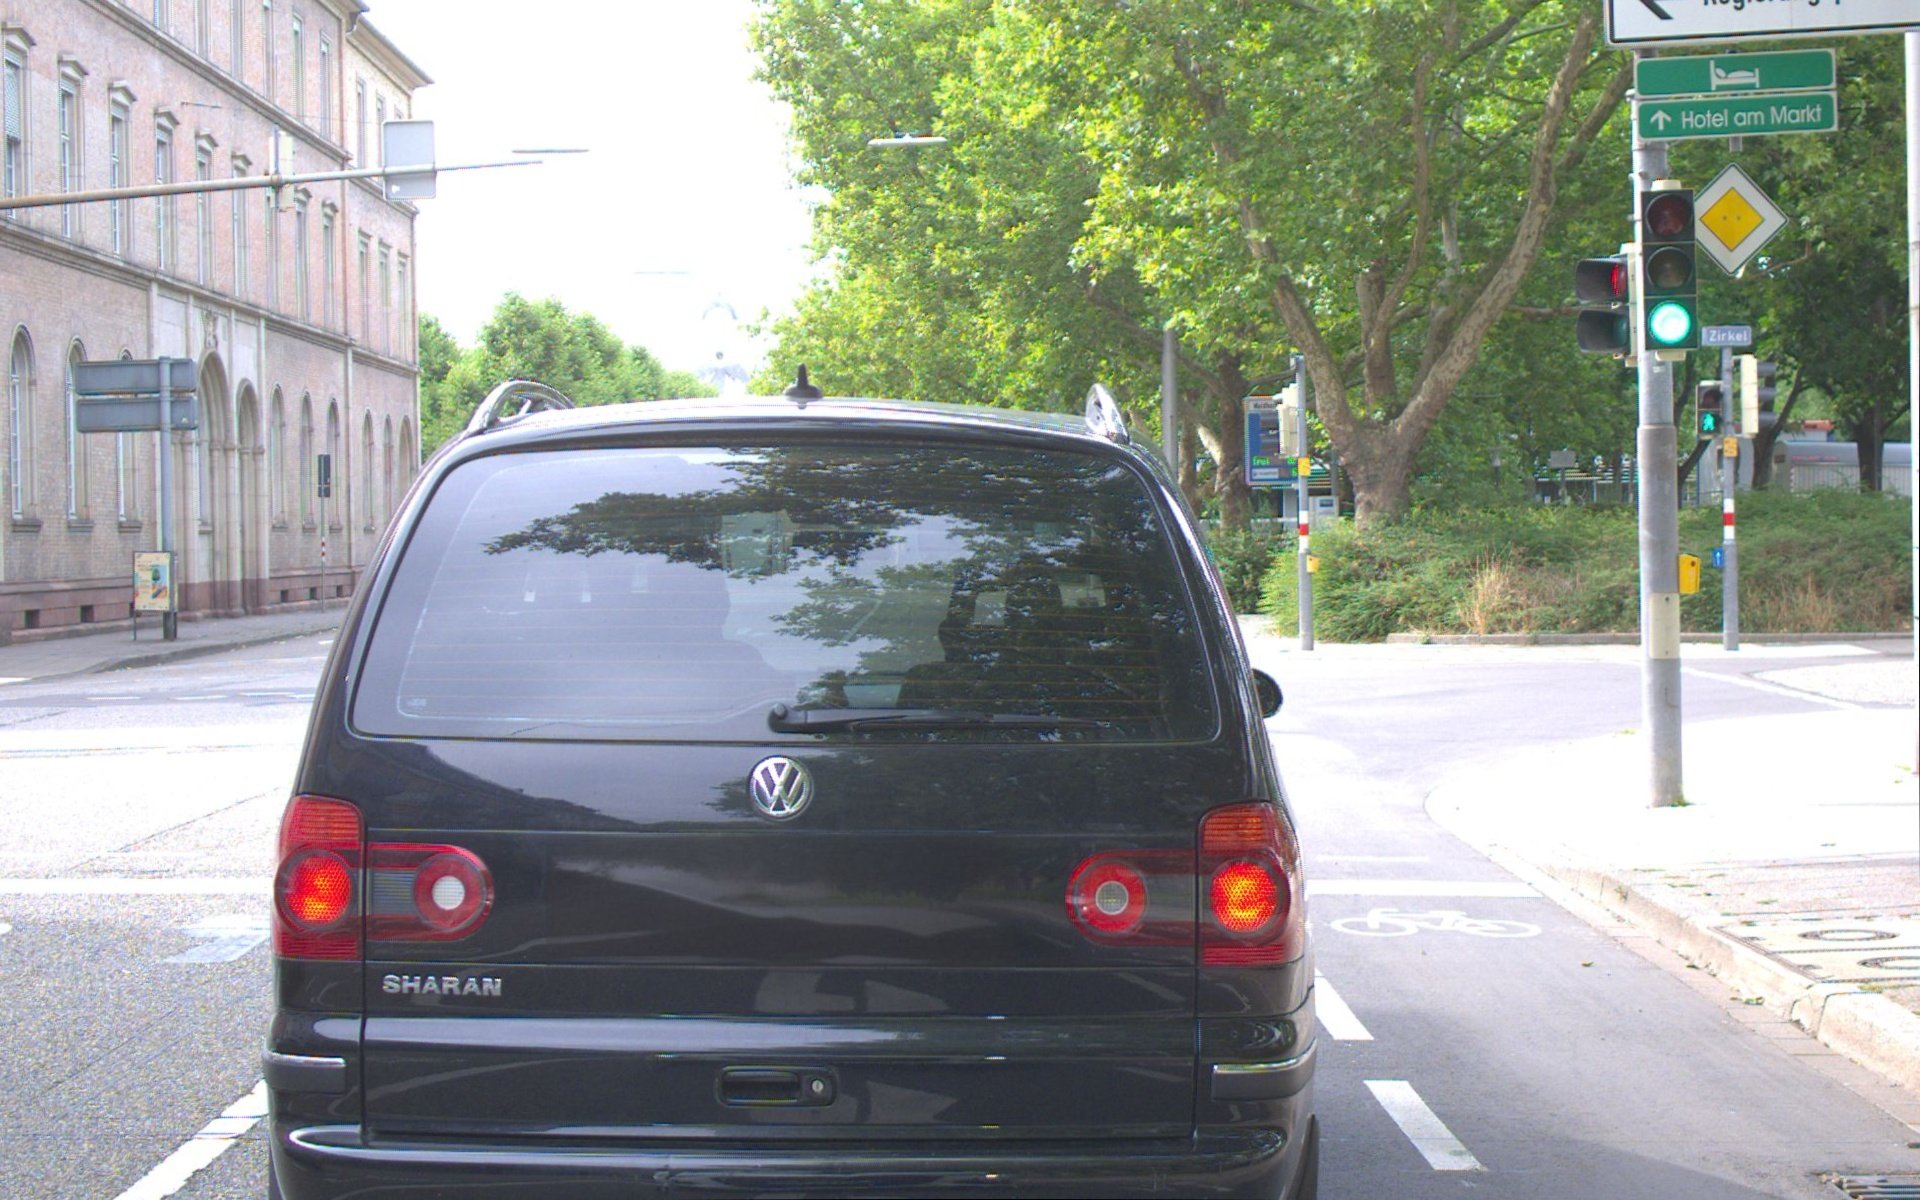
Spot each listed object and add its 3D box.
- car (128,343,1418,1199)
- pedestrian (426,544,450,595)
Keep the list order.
[{"bbox_3d":[-0.282,0.446,7.323,1.874,1.739,4.574,-1,1,0],"label":"car"},{"bbox_3d":[-14.693,-0.852,96.784,0.557,1.430,0.579,-1,1,-1],"label":"pedestrian"}]
